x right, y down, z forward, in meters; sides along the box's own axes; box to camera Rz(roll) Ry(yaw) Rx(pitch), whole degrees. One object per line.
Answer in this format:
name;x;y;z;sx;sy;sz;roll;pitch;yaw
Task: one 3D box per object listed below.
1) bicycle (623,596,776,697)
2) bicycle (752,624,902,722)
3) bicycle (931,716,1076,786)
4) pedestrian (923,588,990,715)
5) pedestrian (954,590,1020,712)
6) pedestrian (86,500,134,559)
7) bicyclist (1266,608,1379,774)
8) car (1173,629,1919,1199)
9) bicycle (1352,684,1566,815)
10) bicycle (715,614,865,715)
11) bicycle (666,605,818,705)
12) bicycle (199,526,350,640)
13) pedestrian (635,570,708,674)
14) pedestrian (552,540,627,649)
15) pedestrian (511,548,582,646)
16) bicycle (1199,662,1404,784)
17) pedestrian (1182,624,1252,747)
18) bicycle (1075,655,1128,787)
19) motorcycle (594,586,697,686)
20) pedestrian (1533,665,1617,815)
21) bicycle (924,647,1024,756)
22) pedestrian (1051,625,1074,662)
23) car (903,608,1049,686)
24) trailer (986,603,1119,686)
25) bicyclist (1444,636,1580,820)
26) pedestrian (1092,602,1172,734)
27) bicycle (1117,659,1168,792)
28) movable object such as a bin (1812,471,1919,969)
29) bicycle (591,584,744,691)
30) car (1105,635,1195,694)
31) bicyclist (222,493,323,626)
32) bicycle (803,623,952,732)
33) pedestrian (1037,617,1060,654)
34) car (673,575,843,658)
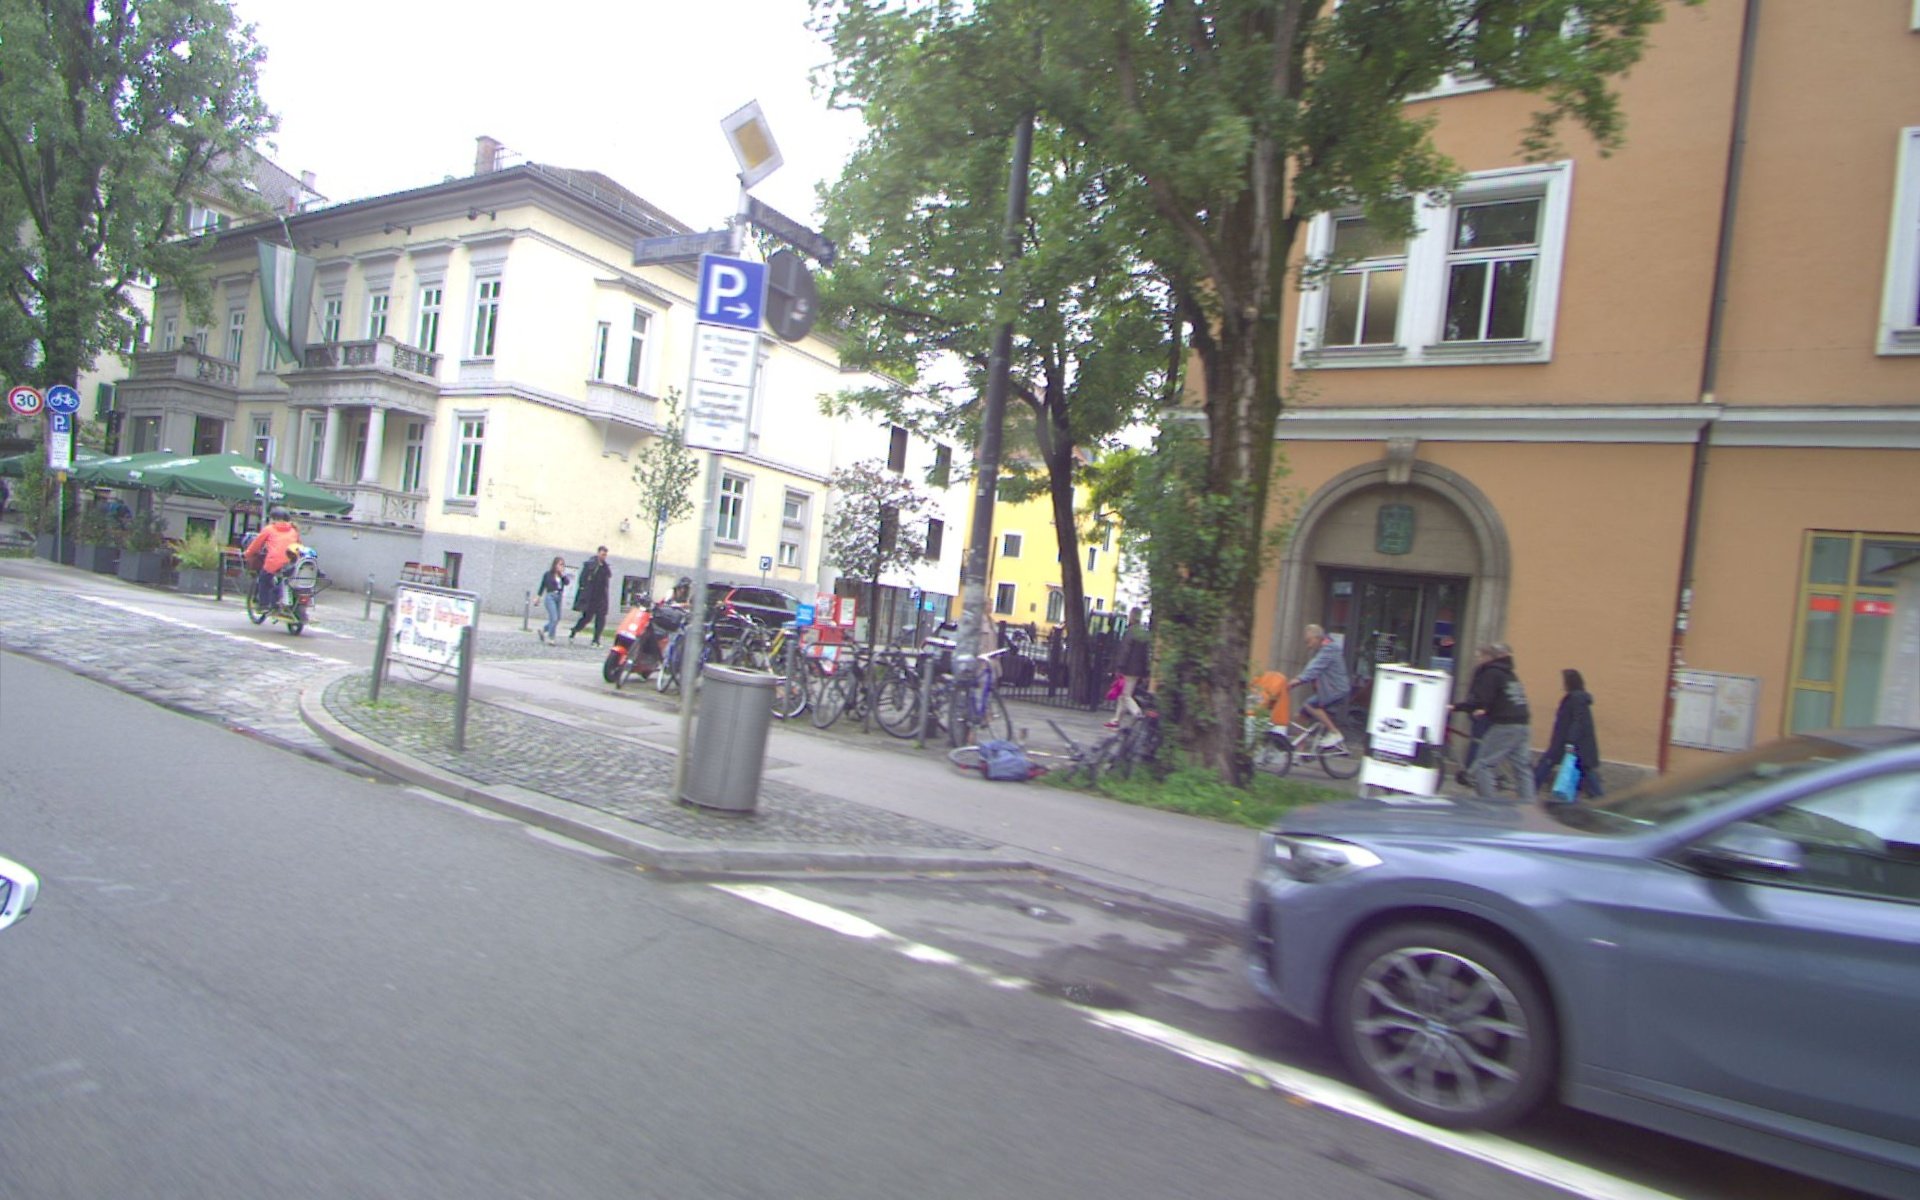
bicycle;-3.268;0.628;12.826;0.551;1.151;1.943;7;-1;32
bicycle;-1.528;0.878;11.939;0.551;1.022;1.943;7;-1;32
bicycle;0.457;1.415;9.631;0.816;0.378;1.676;7;0;23
pedestrian;-0.037;0.736;14.347;0.564;1.713;0.620;6;-1;23
pedestrian;0.409;0.768;14.905;0.564;1.713;0.634;6;-1;27
pedestrian;-26.933;-2.236;31.867;0.862;1.698;0.798;7;0;32
bicyclist;4.174;1.028;11.627;0.658;1.779;0.827;7;0;-23
car;3.238;1.194;3.492;4.423;1.571;1.788;7;-1;31
bicycle;5.298;1.591;10.681;2.073;1.133;0.734;7;0;-21
bicycle;-2.026;0.805;12.255;0.551;1.089;1.943;7;-1;32
bicycle;-2.677;0.711;12.579;0.551;1.102;1.943;7;-1;32
bicycle;-9.915;-0.258;14.514;2.408;1.365;0.773;7;0;31
pedestrian;-4.695;0.362;16.384;0.605;1.589;0.745;6;-2;34
pedestrian;-7.210;-0.099;19.591;0.788;1.971;0.840;6;-1;29
pedestrian;-7.698;-0.048;18.741;0.758;1.680;0.745;6;-2;31
bicycle;3.926;1.417;11.557;2.074;1.133;0.883;7;0;-23
pedestrian;3.538;1.173;13.816;0.565;1.589;0.698;6;-2;34
bicycle;1.373;1.110;9.659;0.335;1.097;1.604;7;-1;9
motorcycle;-4.321;0.494;13.959;0.505;1.235;1.961;7;-1;6
pedestrian;7.091;1.593;11.611;0.653;1.589;0.745;6;-2;32
bicycle;0.182;1.045;10.577;0.336;1.022;1.602;7;-1;24
pedestrian;5.353;2.292;52.458;0.752;1.814;0.873;7;0;26
car;0.500;1.255;25.609;1.874;1.537;3.997;6;-3;30
trailer;2.966;1.443;30.876;1.874;2.052;5.250;7;-1;30
bicyclist;5.555;1.274;10.144;0.732;1.708;0.744;7;0;-23
pedestrian;2.477;0.978;14.458;0.720;1.786;0.698;6;-2;34
bicycle;1.730;1.145;9.627;0.316;1.097;1.609;7;-1;9
movable object such as a bin;8.424;0.939;5.995;4.468;3.177;2.441;7;1;32
bicycle;-3.783;0.524;13.184;0.551;1.254;1.943;7;-1;32
car;6.832;2.328;35.811;1.965;1.703;3.999;6;-3;27
bicyclist;-9.928;-0.578;14.542;0.870;1.788;0.768;7;0;31
bicycle;-0.899;0.895;11.553;0.551;1.097;1.943;7;-1;32
pedestrian;4.618;1.881;52.612;0.752;1.814;0.873;7;0;26
car;-5.571;0.513;28.274;1.941;1.721;4.420;6;-3;35
